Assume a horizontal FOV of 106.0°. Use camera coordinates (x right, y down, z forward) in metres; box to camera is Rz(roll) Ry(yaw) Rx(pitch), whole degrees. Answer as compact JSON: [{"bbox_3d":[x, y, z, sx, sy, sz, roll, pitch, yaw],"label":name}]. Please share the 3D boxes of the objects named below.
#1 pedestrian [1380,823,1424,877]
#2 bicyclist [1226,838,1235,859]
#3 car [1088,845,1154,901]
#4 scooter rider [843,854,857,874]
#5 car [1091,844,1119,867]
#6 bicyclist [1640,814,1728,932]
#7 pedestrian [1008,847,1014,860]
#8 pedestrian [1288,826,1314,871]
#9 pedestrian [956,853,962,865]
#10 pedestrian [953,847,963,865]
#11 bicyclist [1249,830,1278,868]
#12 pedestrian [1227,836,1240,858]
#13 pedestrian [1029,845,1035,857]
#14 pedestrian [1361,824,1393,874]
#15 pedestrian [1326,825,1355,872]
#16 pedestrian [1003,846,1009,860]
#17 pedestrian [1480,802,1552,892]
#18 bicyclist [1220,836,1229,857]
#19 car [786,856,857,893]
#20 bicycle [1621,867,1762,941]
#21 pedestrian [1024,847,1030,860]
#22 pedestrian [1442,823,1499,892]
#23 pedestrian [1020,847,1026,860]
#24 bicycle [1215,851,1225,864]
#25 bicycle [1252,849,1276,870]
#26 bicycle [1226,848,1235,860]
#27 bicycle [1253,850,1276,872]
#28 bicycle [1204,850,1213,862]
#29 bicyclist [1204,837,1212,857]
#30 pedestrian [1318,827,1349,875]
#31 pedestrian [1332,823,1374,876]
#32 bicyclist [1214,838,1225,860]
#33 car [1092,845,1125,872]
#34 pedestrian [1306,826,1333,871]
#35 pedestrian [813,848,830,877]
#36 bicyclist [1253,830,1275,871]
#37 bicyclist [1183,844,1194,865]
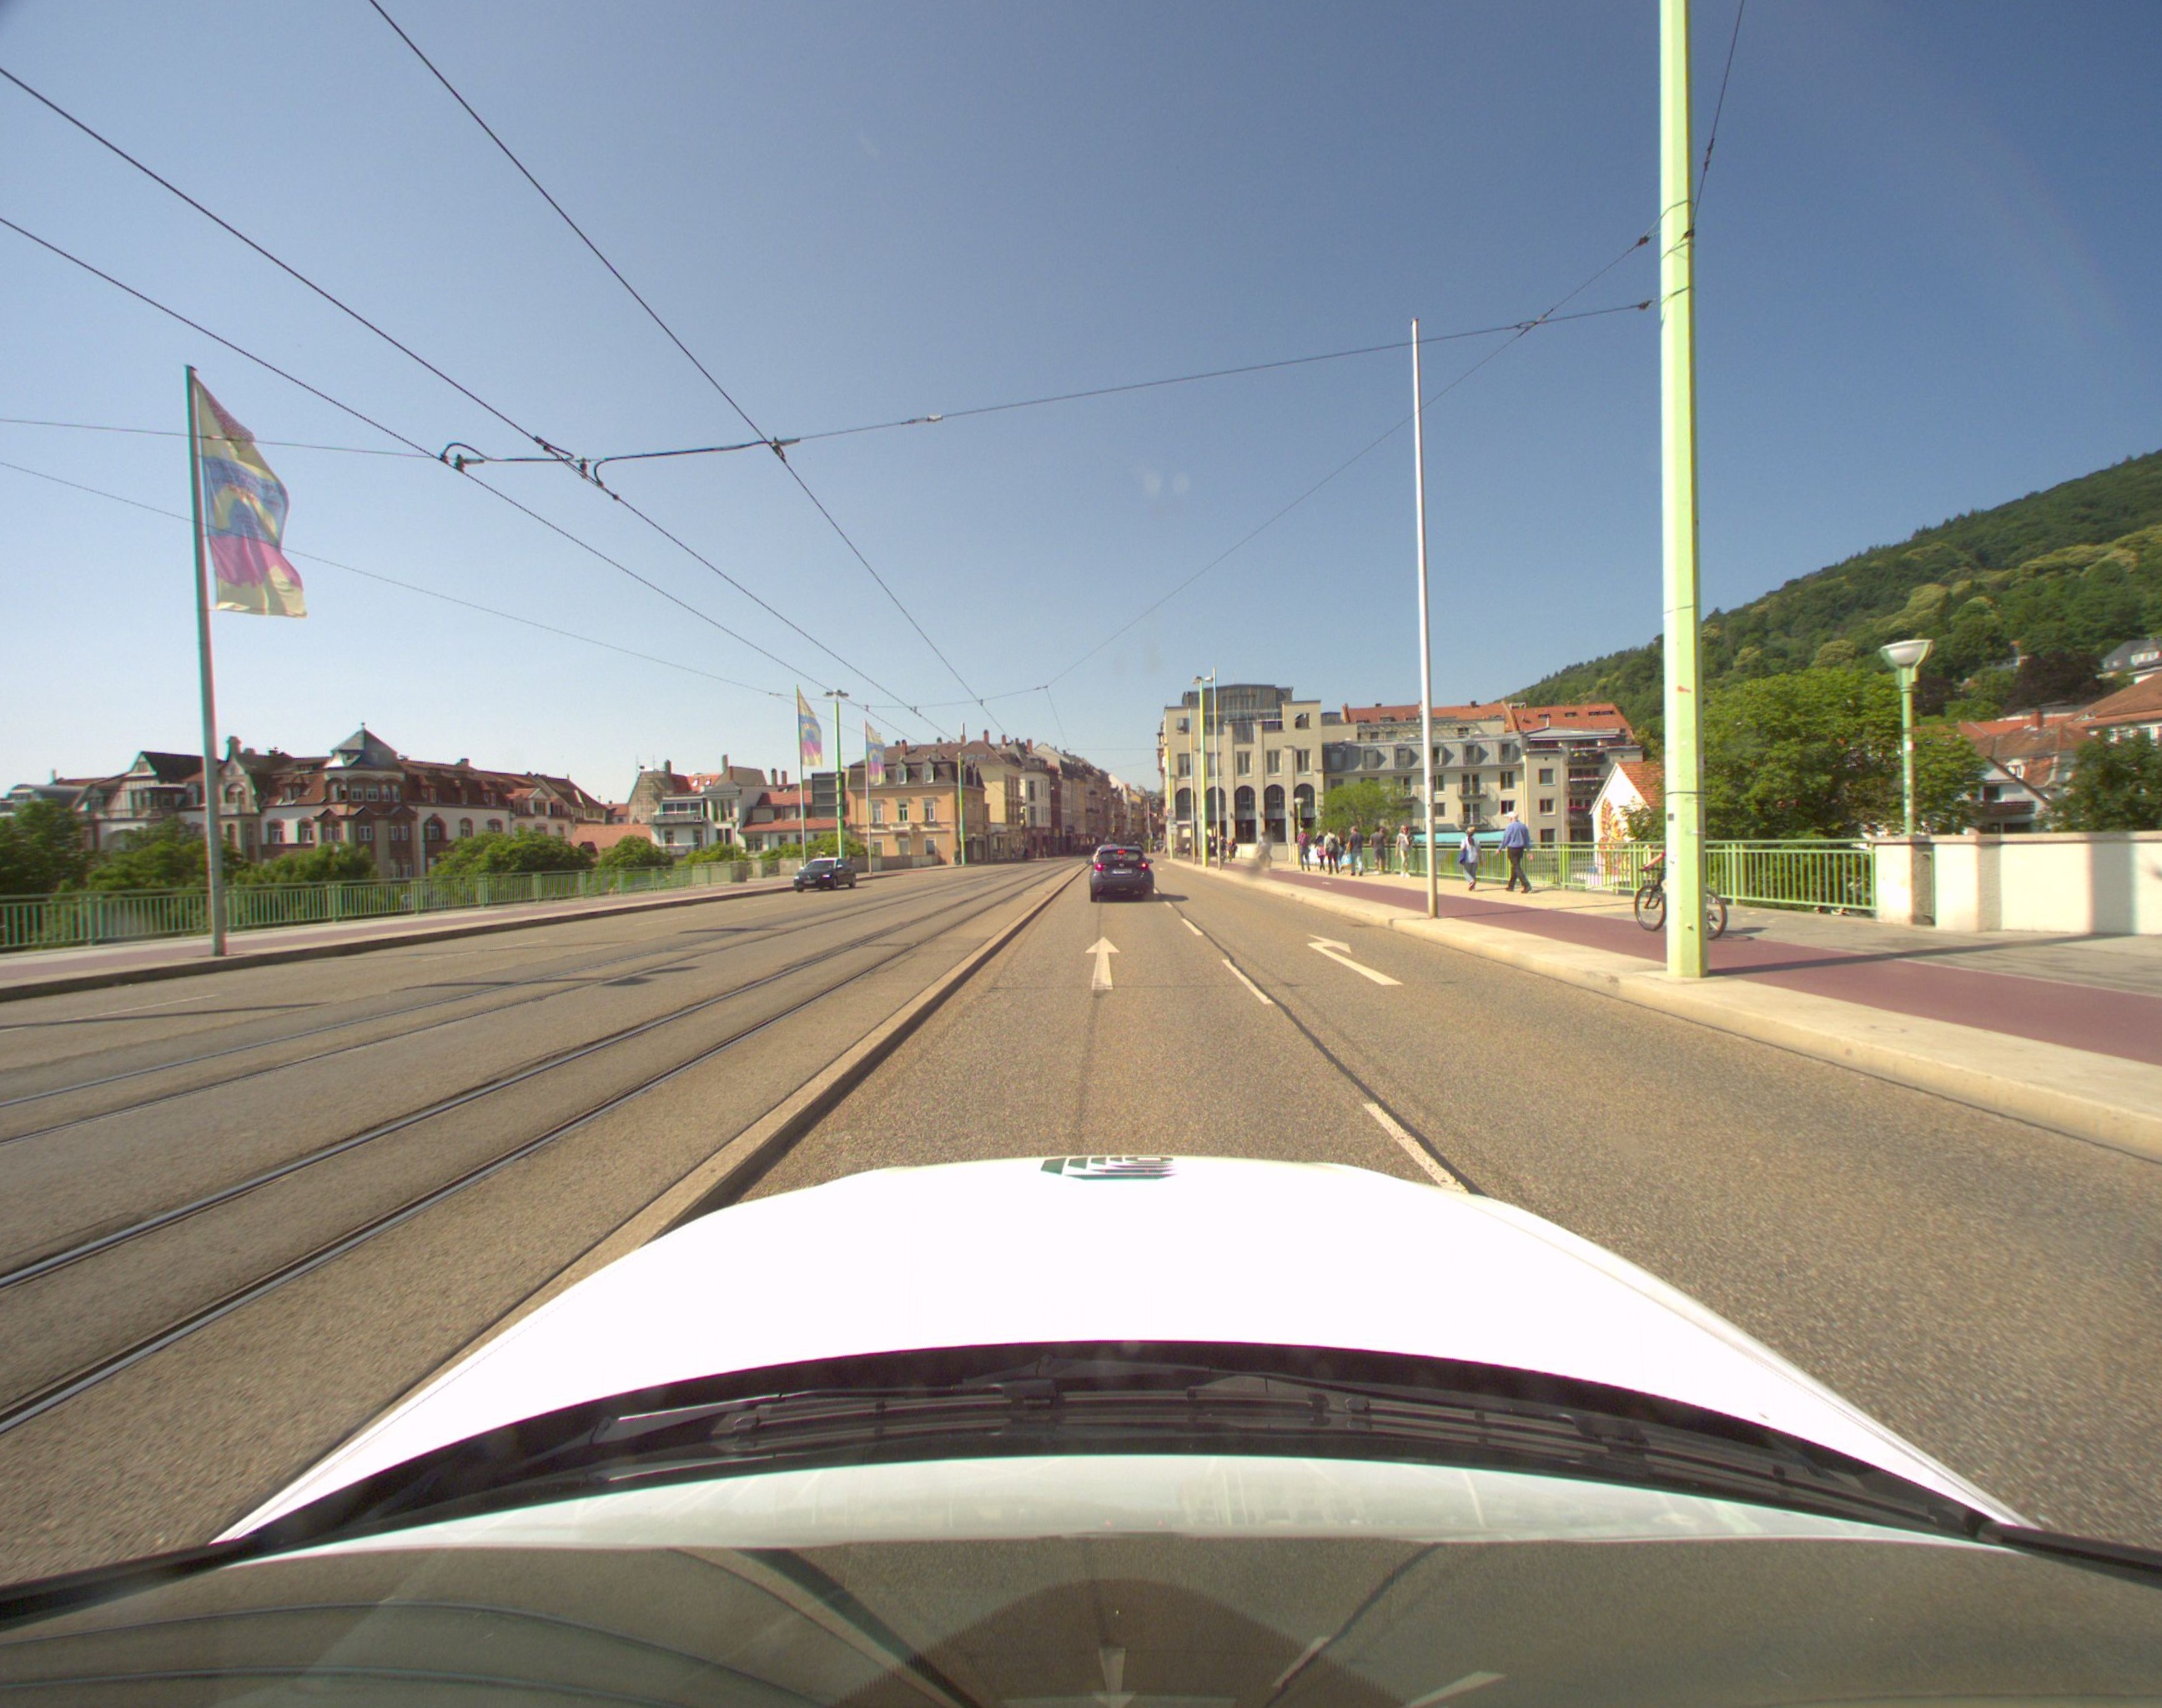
[{"bbox_3d":[10.364,-0.125,26.319,0.944,1.662,1.083,-3,0,1],"label":"pedestrian"},{"bbox_3d":[9.903,-0.377,53.902,0.420,1.383,0.444,-3,0,2],"label":"bicyclist"},{"bbox_3d":[1.116,0.484,23.217,1.713,1.473,3.660,-1,0,2],"label":"car"},{"bbox_3d":[-16.413,0.705,57.883,0.763,1.315,0.600,2,0,13],"label":"scooter rider"},{"bbox_3d":[1.709,0.104,57.028,1.890,1.530,4.002,-1,0,2],"label":"car"},{"bbox_3d":[7.437,0.222,10.067,0.532,1.383,0.669,-4,0,2],"label":"bicyclist"},{"bbox_3d":[-8.677,-0.061,100.692,0.646,1.602,0.566,2,2,2],"label":"pedestrian"},{"bbox_3d":[9.082,-0.216,33.614,0.736,1.802,1.016,-3,0,2],"label":"pedestrian"},{"bbox_3d":[-12.109,0.531,81.027,0.409,1.146,0.546,2,0,10],"label":"pedestrian"},{"bbox_3d":[-11.824,0.201,78.213,0.759,1.654,0.712,2,0,4],"label":"pedestrian"},{"bbox_3d":[8.443,-0.251,37.744,1.134,1.695,0.925,-3,0,4],"label":"bicyclist"},{"bbox_3d":[11.372,-0.538,60.870,0.736,1.614,1.016,3,0,2],"label":"pedestrian"},{"bbox_3d":[-7.181,-0.437,120.380,0.733,1.766,0.787,-2,1,2],"label":"pedestrian"},{"bbox_3d":[10.593,-0.196,29.178,0.736,1.718,1.016,-3,0,2],"label":"pedestrian"},{"bbox_3d":[10.058,-0.228,31.607,0.736,1.746,1.016,-3,0,2],"label":"pedestrian"},{"bbox_3d":[-9.344,-0.109,101.282,0.646,1.602,0.566,2,2,2],"label":"pedestrian"},{"bbox_3d":[9.593,-0.151,18.014,0.922,1.897,1.137,-3,0,1],"label":"pedestrian"},{"bbox_3d":[9.933,-0.506,56.395,0.487,1.466,0.438,-2,3,-37],"label":"bicyclist"},{"bbox_3d":[-11.474,0.878,36.261,1.710,1.454,3.903,-3,0,2],"label":"car"},{"bbox_3d":[7.466,0.585,10.053,0.512,0.765,1.661,-4,0,2],"label":"bicycle"},{"bbox_3d":[-6.867,-0.044,104.072,0.646,1.602,0.566,2,2,2],"label":"pedestrian"},{"bbox_3d":[9.118,0.069,19.096,0.826,1.529,0.933,-3,0,1],"label":"pedestrian"},{"bbox_3d":[-7.513,-0.066,105.507,0.733,1.766,0.787,2,0,2],"label":"pedestrian"},{"bbox_3d":[8.441,0.190,49.478,0.414,0.765,1.207,-4,0,5],"label":"bicycle"},{"bbox_3d":[8.465,0.246,37.704,0.794,0.882,1.830,-3,0,4],"label":"bicycle"},{"bbox_3d":[9.911,0.024,53.929,0.415,0.765,0.962,-4,0,2],"label":"bicycle"},{"bbox_3d":[7.828,0.306,34.785,0.701,0.882,1.527,-3,0,3],"label":"bicycle"},{"bbox_3d":[8.254,0.143,52.727,0.414,0.765,0.963,-4,0,5],"label":"bicycle"},{"bbox_3d":[8.214,-0.455,52.716,0.420,1.256,0.444,-4,0,5],"label":"bicyclist"},{"bbox_3d":[9.431,-0.124,30.440,0.752,1.718,1.074,-3,0,2],"label":"pedestrian"},{"bbox_3d":[9.511,-0.153,28.515,0.974,1.777,1.208,-3,0,1],"label":"pedestrian"},{"bbox_3d":[8.402,-0.313,49.389,0.535,1.316,0.673,-4,0,6],"label":"bicyclist"},{"bbox_3d":[1.659,0.248,48.835,1.890,1.530,4.002,-1,0,2],"label":"car"},{"bbox_3d":[9.846,-0.219,33.668,0.736,1.777,1.016,-3,0,2],"label":"pedestrian"},{"bbox_3d":[-16.775,0.545,52.673,0.742,1.781,0.802,-3,0,3],"label":"pedestrian"},{"bbox_3d":[7.804,-0.168,34.755,0.699,1.695,0.925,-3,0,2],"label":"bicyclist"},{"bbox_3d":[13.071,0.015,99.086,1.222,2.528,1.107,2,0,6],"label":"bicyclist"}]
